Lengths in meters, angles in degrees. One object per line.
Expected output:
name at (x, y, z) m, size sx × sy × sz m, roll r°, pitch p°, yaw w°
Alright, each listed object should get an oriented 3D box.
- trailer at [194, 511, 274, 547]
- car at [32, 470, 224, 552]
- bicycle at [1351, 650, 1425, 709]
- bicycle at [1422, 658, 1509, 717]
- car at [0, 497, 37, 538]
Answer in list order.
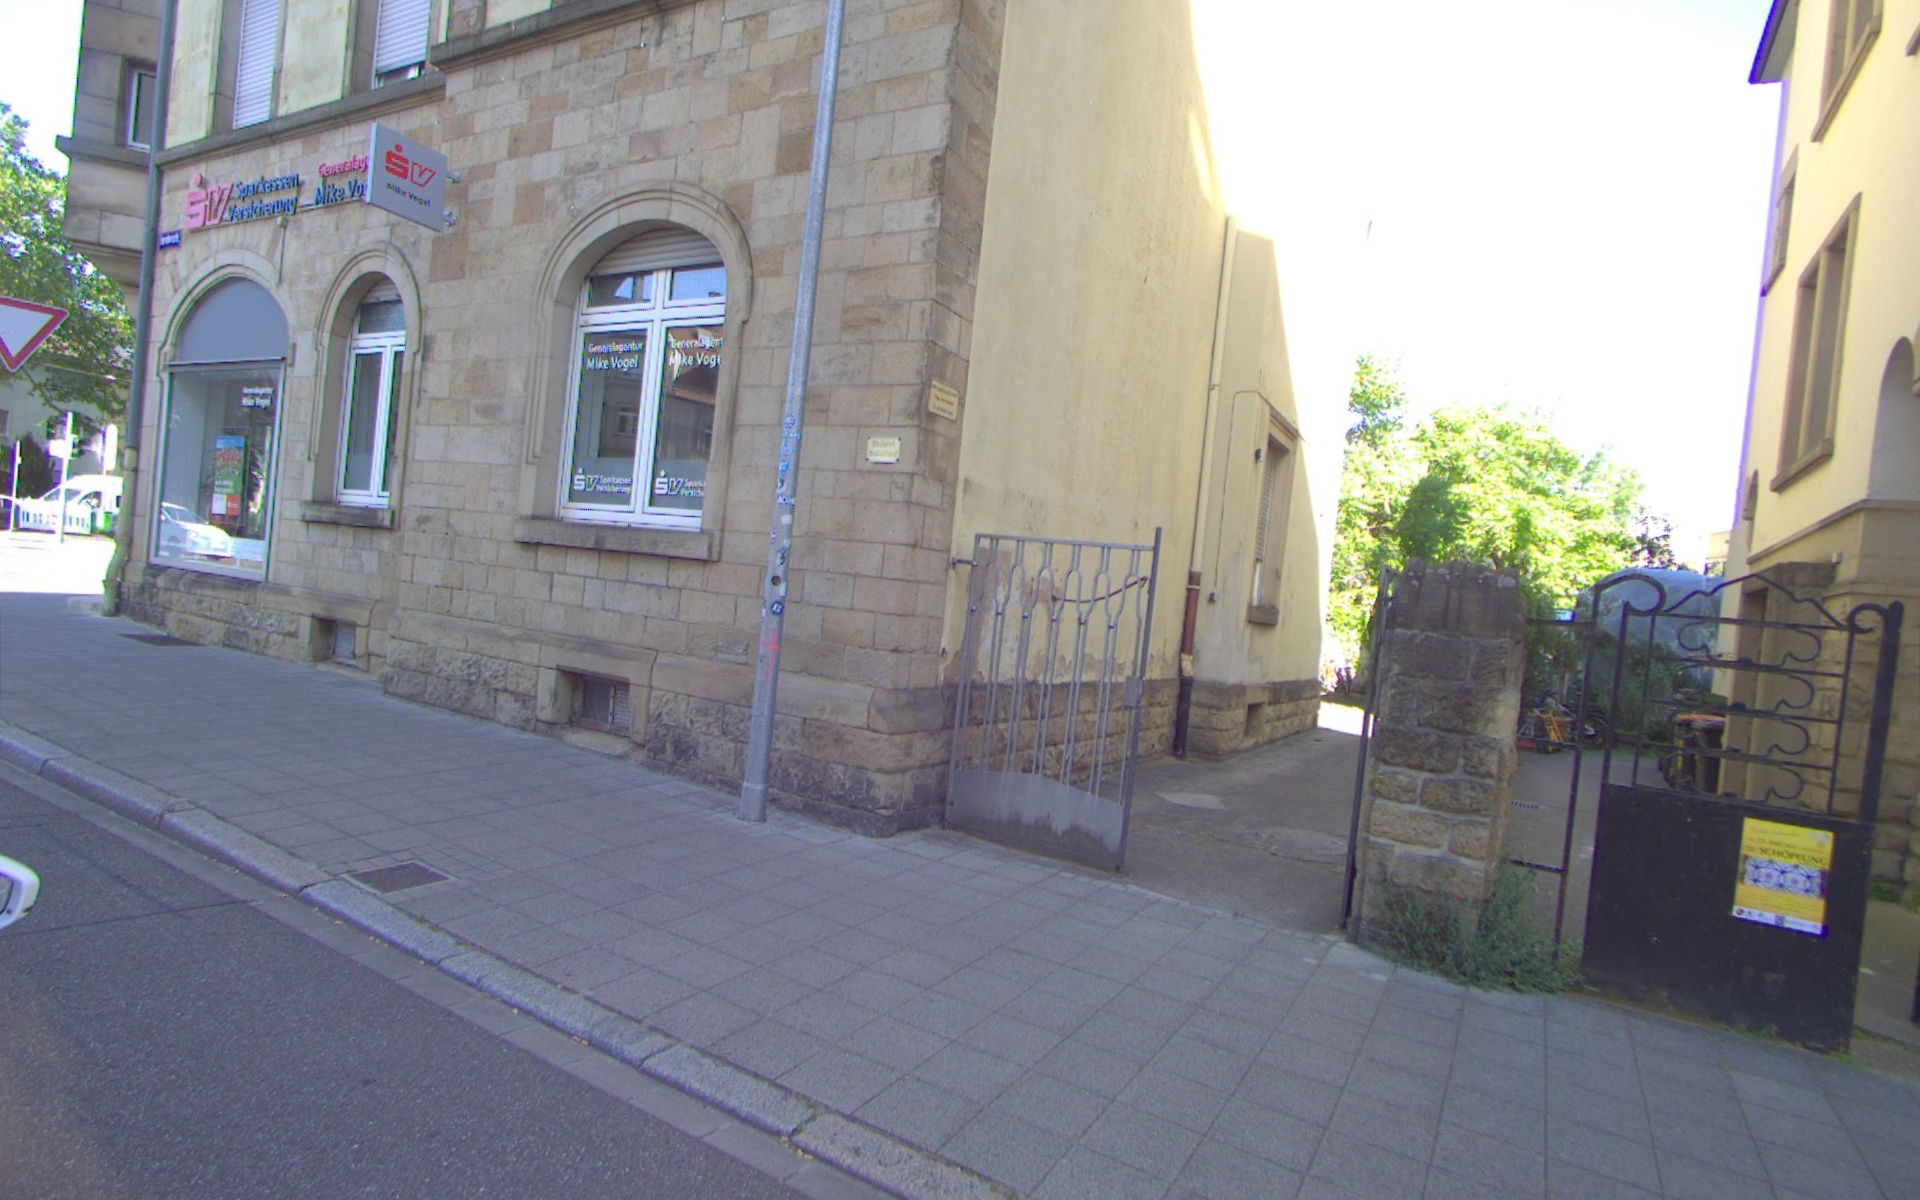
trailer at (-33.482, -3.256, 46.465) m, size 1.246 × 1.328 × 2.749 m, roll 7°, pitch 0°, yaw 13°
car at (-34.591, -3.630, 42.138) m, size 1.962 × 2.600 × 6.061 m, roll 7°, pitch 0°, yaw 14°
bicycle at (10.621, 1.949, 25.083) m, size 0.860 × 1.180 × 2.659 m, roll 6°, pitch 0°, yaw 6°
bicycle at (12.308, 2.106, 24.612) m, size 0.855 × 1.124 × 2.864 m, roll 6°, pitch 0°, yaw 7°
car at (-38.431, -3.376, 39.146) m, size 1.496 × 1.506 × 3.391 m, roll 6°, pitch 0°, yaw 10°
